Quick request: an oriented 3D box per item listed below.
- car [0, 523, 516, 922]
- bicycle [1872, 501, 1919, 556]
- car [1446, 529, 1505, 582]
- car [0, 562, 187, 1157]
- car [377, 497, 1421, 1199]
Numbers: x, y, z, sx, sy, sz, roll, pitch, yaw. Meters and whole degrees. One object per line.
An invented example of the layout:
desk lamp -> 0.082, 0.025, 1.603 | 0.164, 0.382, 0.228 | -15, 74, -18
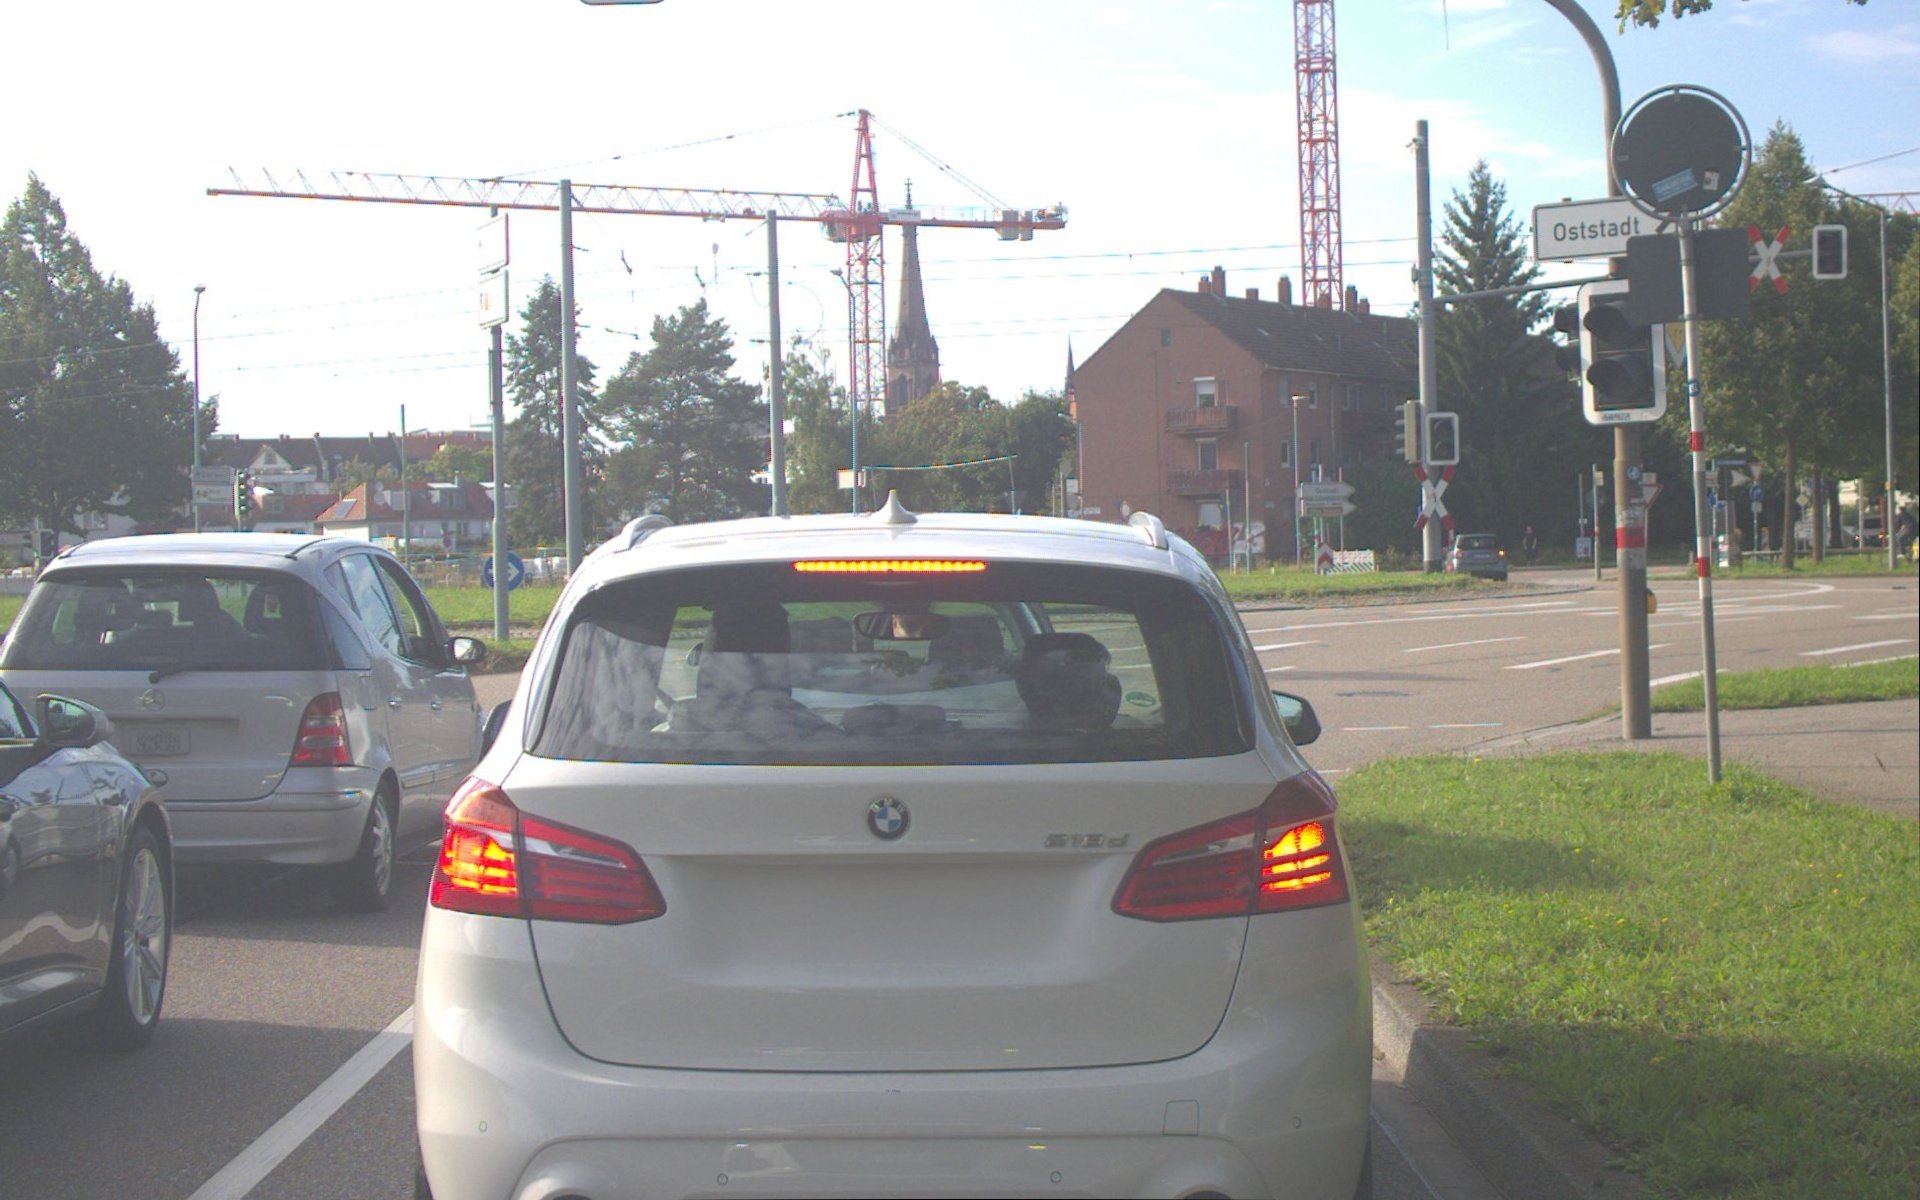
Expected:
car -> -3.110, 0.443, 15.421 | 1.729, 1.553, 4.058 | 0, 1, 0
bicycle -> 26.973, -2.023, 97.209 | 0.893, 1.525, 2.290 | 1, 0, -30
car -> 15.788, -1.370, 105.210 | 1.570, 1.568, 3.197 | -1, 1, 12
car -> -3.326, 0.644, 8.419 | 1.890, 1.478, 4.613 | 0, 1, -1
car -> -0.128, 0.572, 7.734 | 1.729, 1.553, 4.058 | 0, 1, -1
